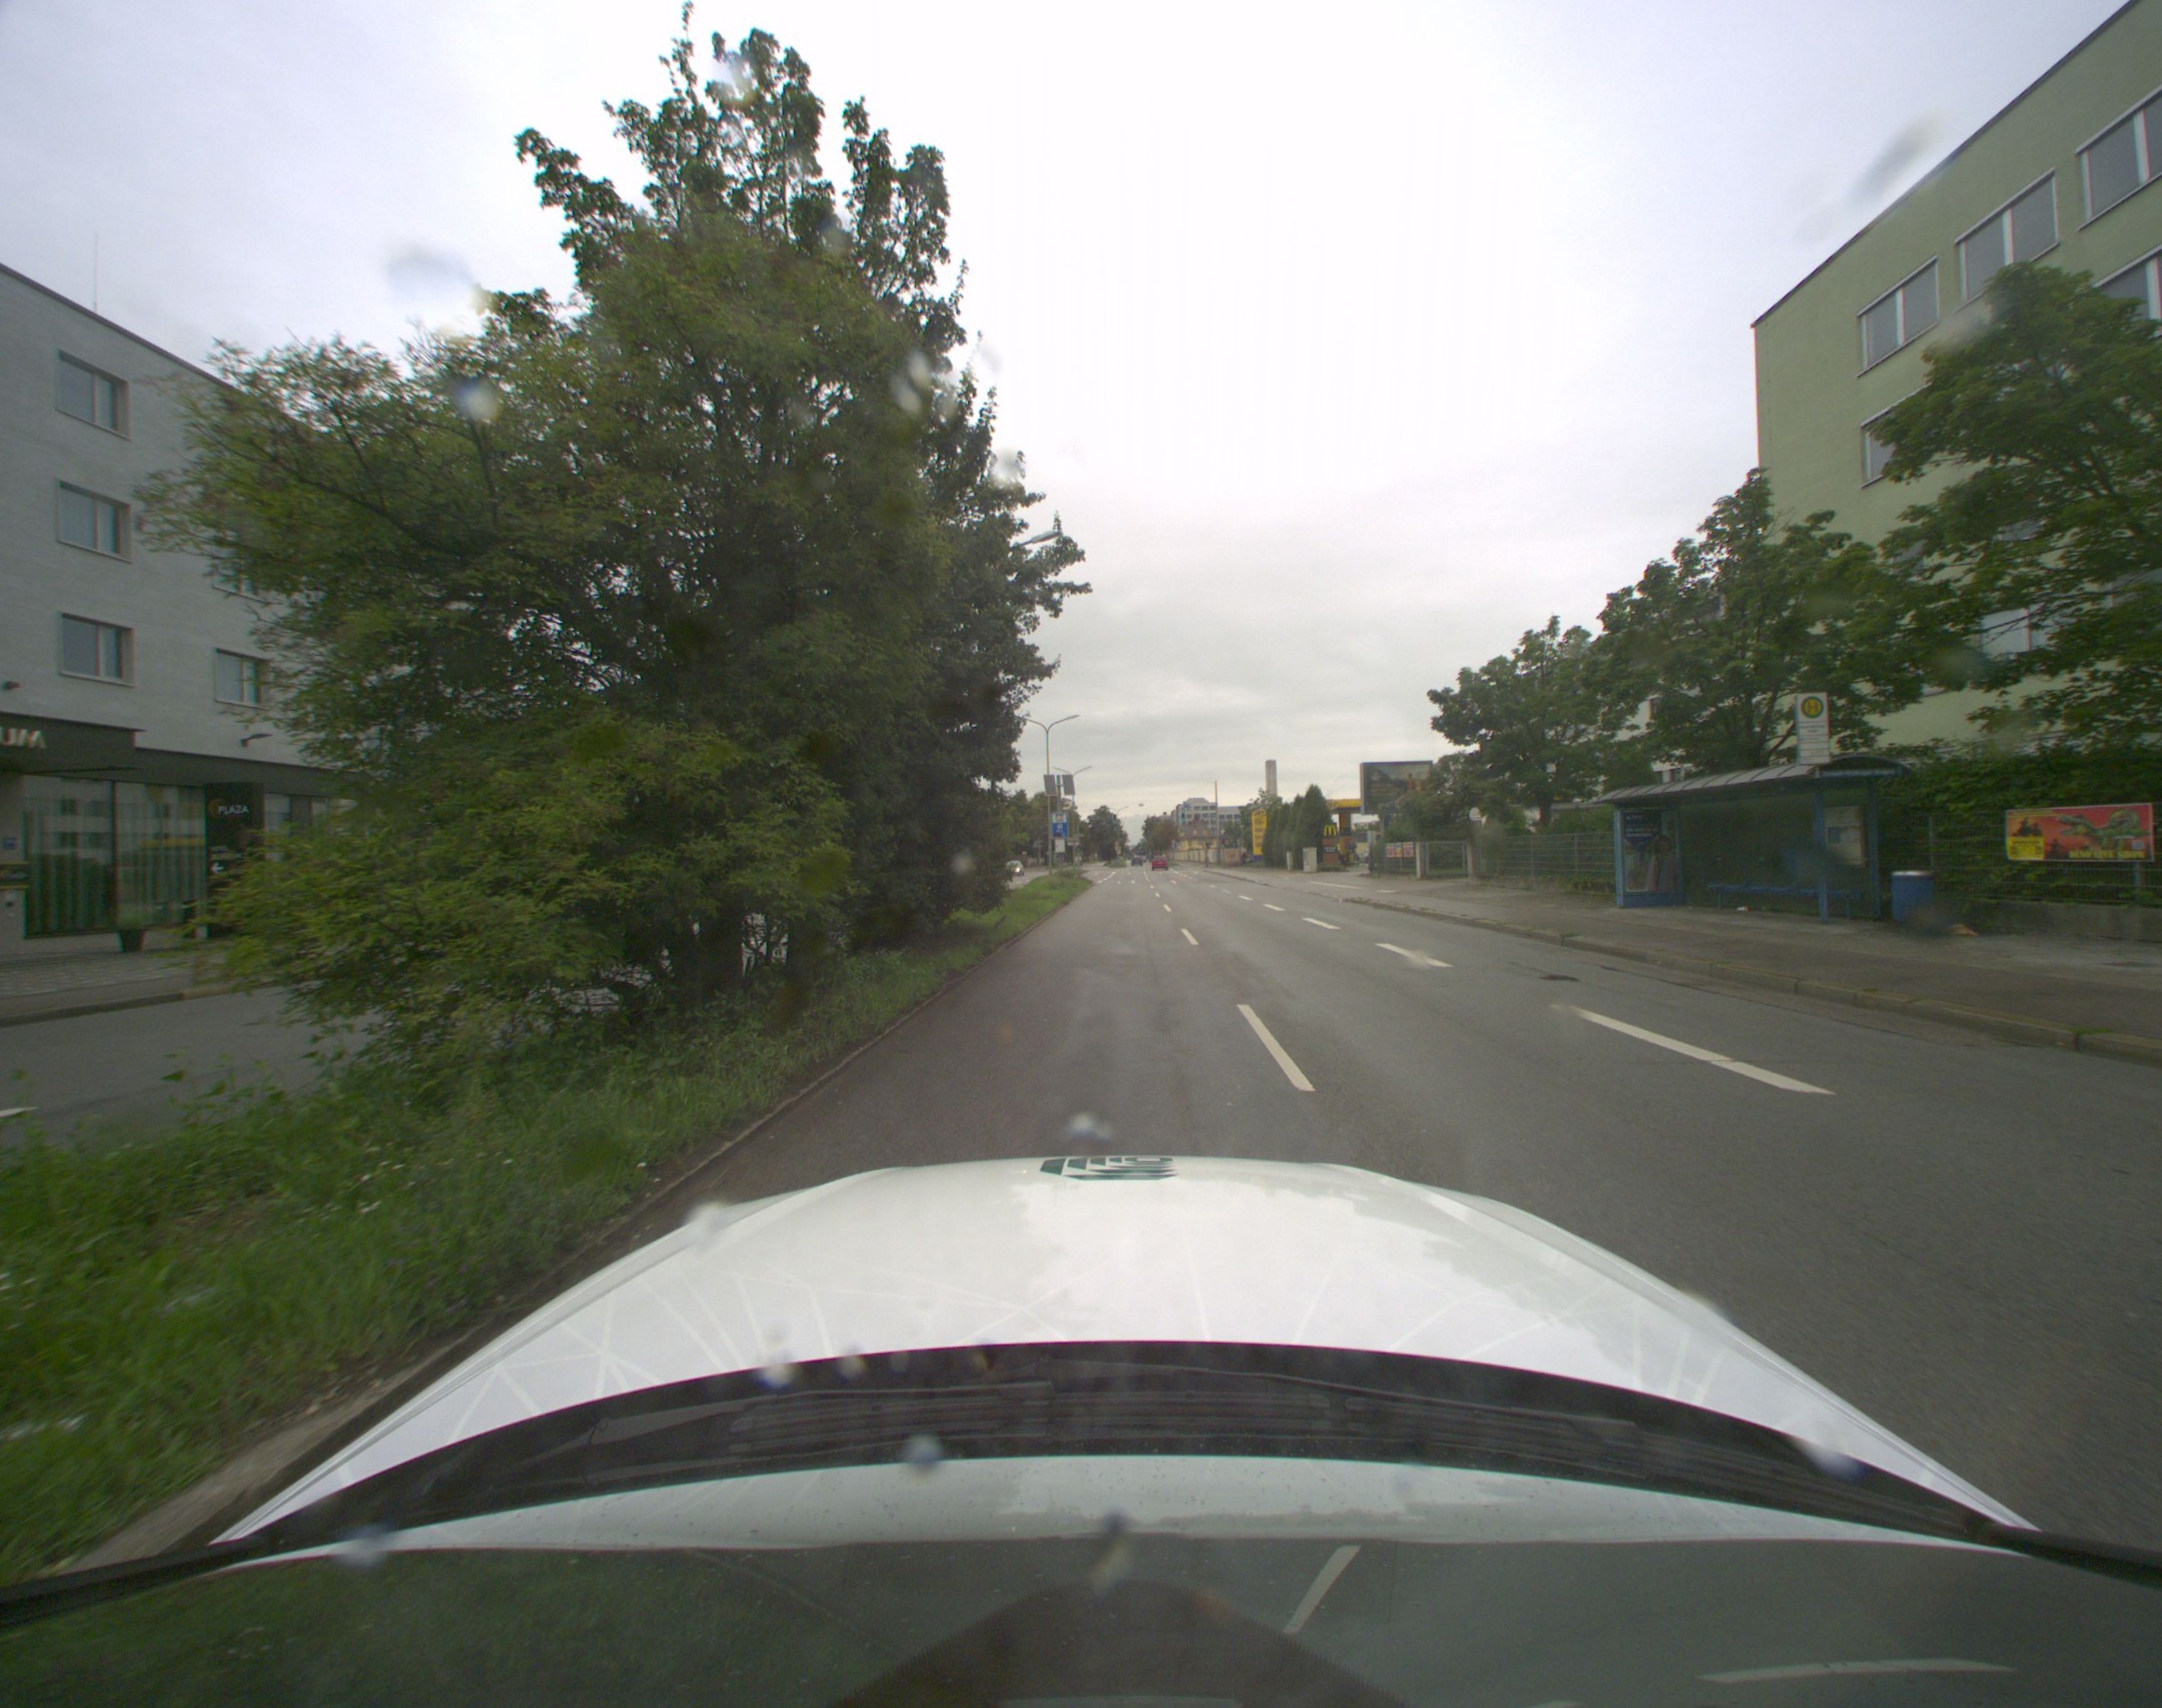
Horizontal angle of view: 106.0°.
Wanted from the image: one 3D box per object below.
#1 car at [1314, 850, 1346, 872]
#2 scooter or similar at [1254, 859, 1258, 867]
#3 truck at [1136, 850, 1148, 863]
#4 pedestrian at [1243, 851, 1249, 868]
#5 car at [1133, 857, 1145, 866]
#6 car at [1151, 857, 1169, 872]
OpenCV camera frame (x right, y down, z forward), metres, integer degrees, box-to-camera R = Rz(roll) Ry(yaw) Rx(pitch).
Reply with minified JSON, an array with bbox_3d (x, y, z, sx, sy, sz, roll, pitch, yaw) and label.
[{"bbox_3d":[21.000,0.574,68.731,1.746,1.794,4.006,-2,0,5],"label":"car"},{"bbox_3d":[17.321,0.896,80.705,0.173,0.823,0.783,-2,-1,26],"label":"scooter or similar"},{"bbox_3d":[16.642,0.742,221.821,2.958,3.285,7.918,-2,0,2],"label":"truck"},{"bbox_3d":[16.537,0.526,81.474,0.481,1.636,0.591,-2,-1,4],"label":"pedestrian"},{"bbox_3d":[9.777,1.291,138.153,1.796,1.432,4.001,-2,0,2],"label":"car"},{"bbox_3d":[8.901,1.172,92.271,1.854,1.618,4.004,-1,-1,3],"label":"car"}]
